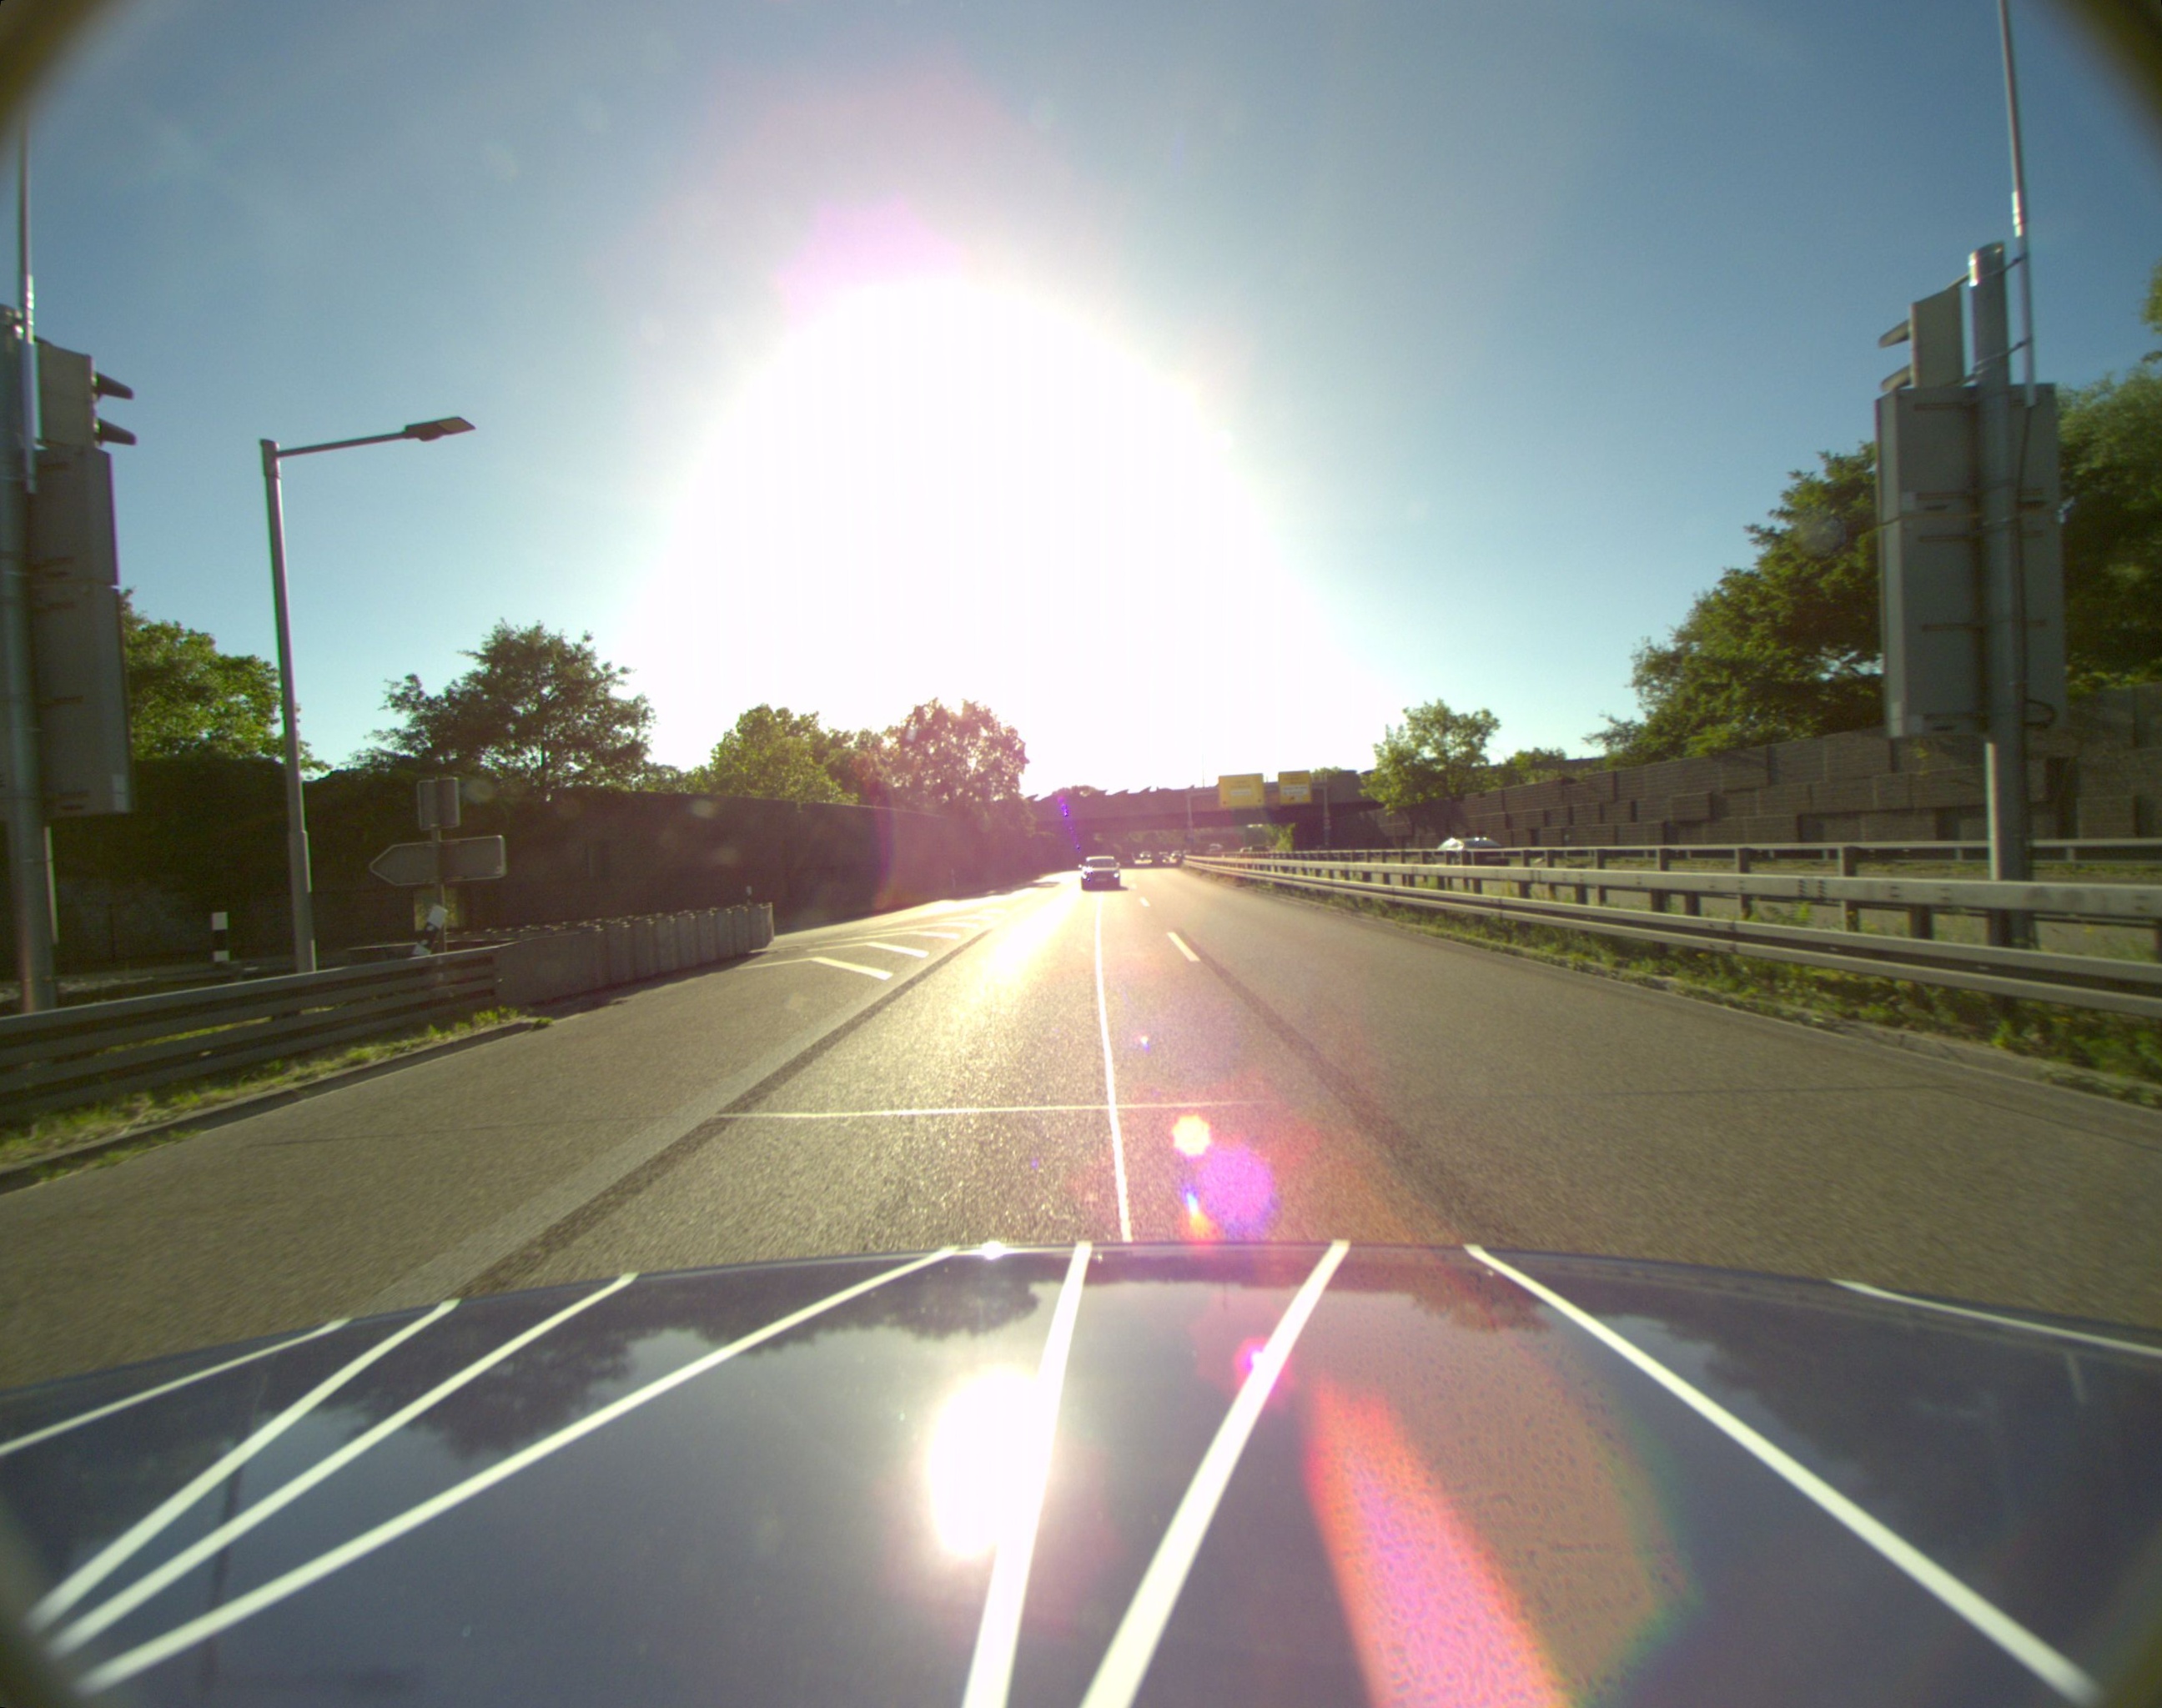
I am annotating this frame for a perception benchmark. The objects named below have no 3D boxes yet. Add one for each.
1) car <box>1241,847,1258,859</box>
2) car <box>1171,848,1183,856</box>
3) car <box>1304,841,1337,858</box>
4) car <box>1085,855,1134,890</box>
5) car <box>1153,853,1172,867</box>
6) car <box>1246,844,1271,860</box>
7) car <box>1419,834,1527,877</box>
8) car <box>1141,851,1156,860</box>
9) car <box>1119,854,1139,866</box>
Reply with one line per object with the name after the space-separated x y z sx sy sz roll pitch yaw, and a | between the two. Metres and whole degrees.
24.285 -0.198 109.595 1.549 1.564 4.397 -5 0 4 | car
19.209 -0.412 152.108 1.997 1.406 4.834 -3 0 9 | car
21.850 -0.386 69.458 1.902 1.413 4.136 -1 0 4 | car
1.400 0.798 35.207 1.998 1.406 4.832 -2 0 5 | car
9.221 0.629 86.178 1.998 1.406 4.833 -3 0 6 | car
19.910 -0.183 85.427 1.902 1.564 4.809 -5 0 4 | car
15.752 0.075 30.840 1.998 1.471 4.535 -5 0 1 | car
12.425 0.300 138.896 1.997 1.406 4.835 -3 0 14 | car
6.149 0.772 96.498 1.997 1.406 4.834 -3 0 10 | car
